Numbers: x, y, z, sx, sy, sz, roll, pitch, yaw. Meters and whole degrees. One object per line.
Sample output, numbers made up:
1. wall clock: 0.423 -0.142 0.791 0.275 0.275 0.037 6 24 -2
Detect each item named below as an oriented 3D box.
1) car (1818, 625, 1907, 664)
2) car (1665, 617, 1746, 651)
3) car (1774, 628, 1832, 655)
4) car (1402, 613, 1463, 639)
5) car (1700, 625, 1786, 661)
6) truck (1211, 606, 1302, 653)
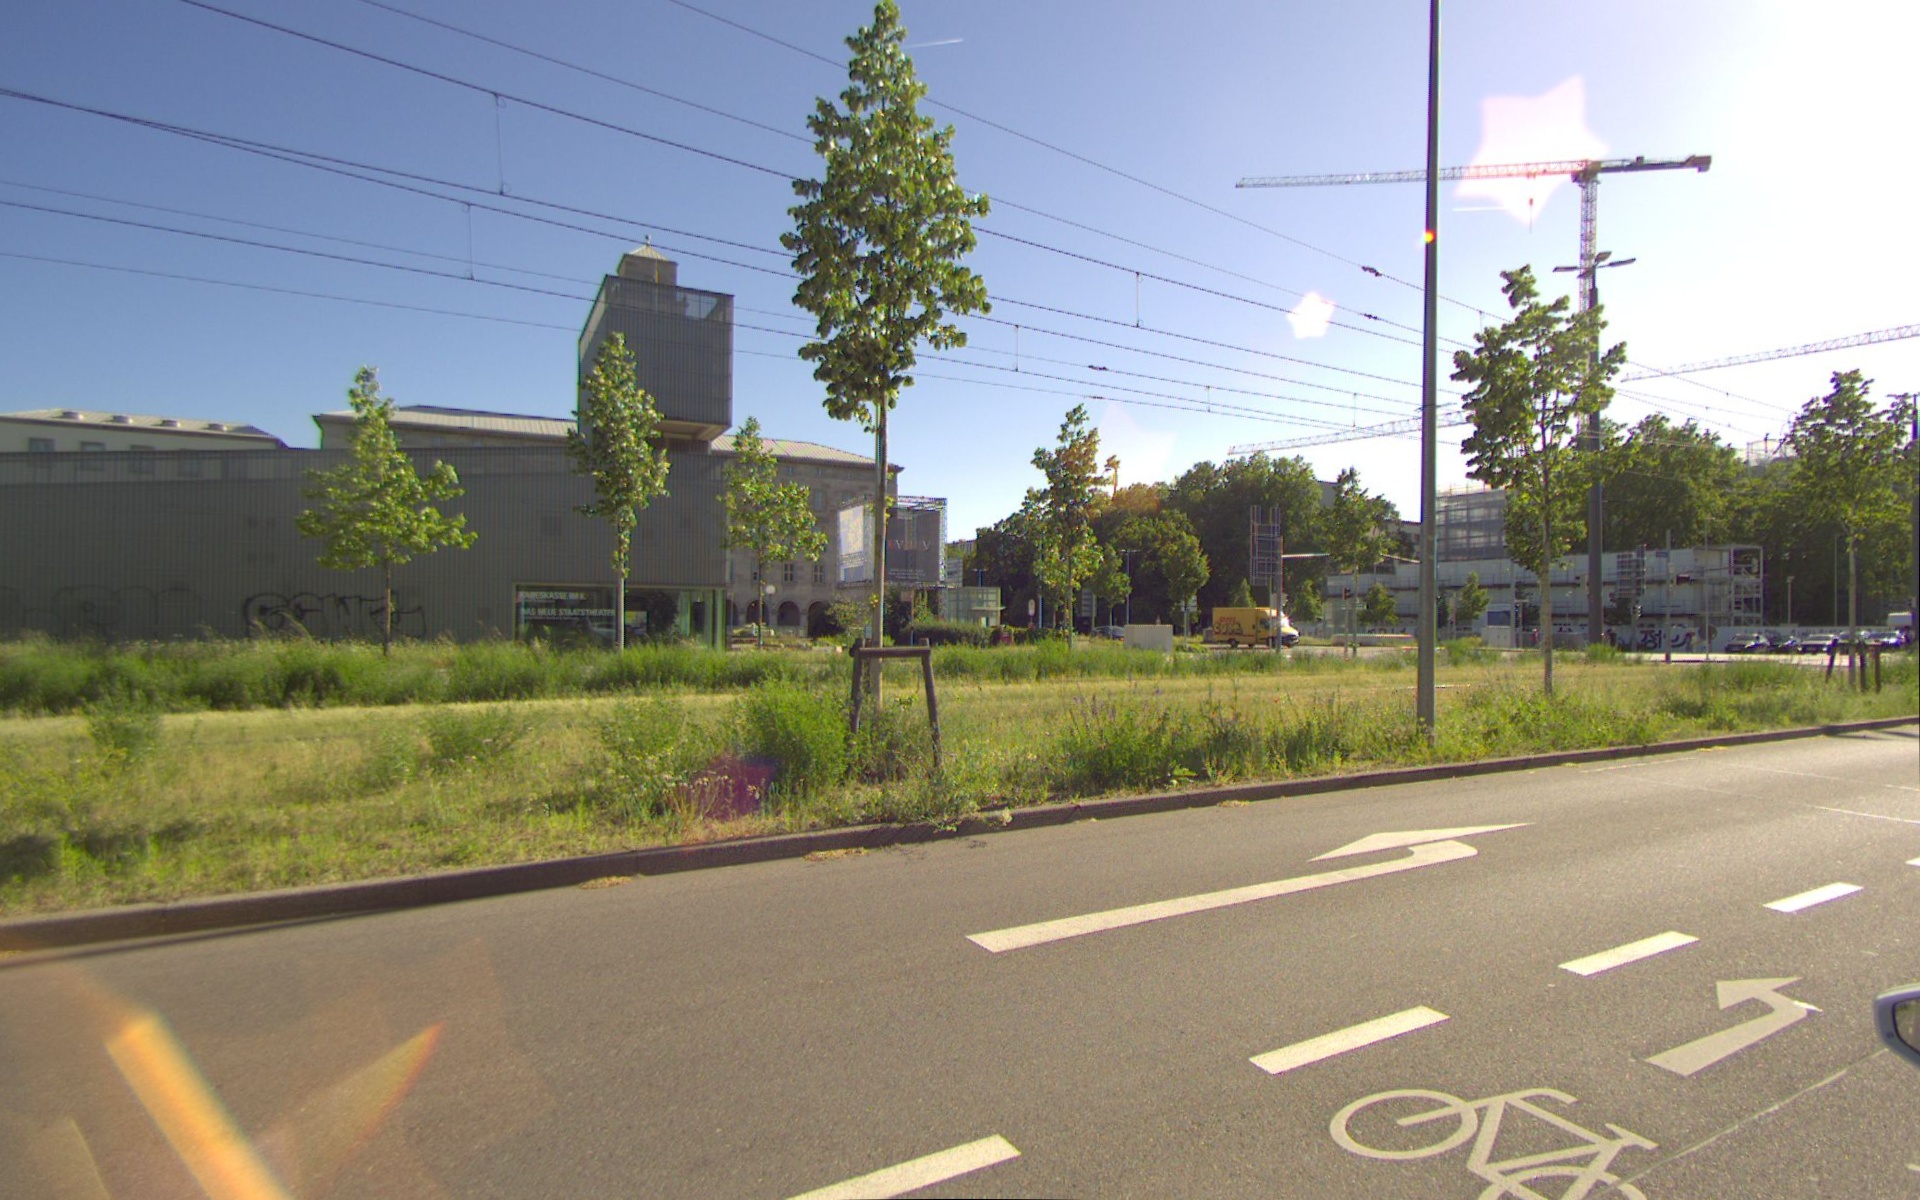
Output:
1. car: 30.541 1.508 33.983 3.184 1.194 1.369 2 0 -31
2. car: 28.467 1.305 38.333 3.184 1.194 1.369 2 0 -31
3. car: 56.860 2.813 67.761 3.851 1.634 1.828 2 0 -31
4. car: 31.146 1.723 66.187 3.953 1.577 1.702 2 0 -30
5. car: 28.097 1.551 36.028 3.184 1.194 1.369 2 0 -31
6. truck: 20.804 2.033 70.960 1.973 3.002 6.941 2 0 -25
